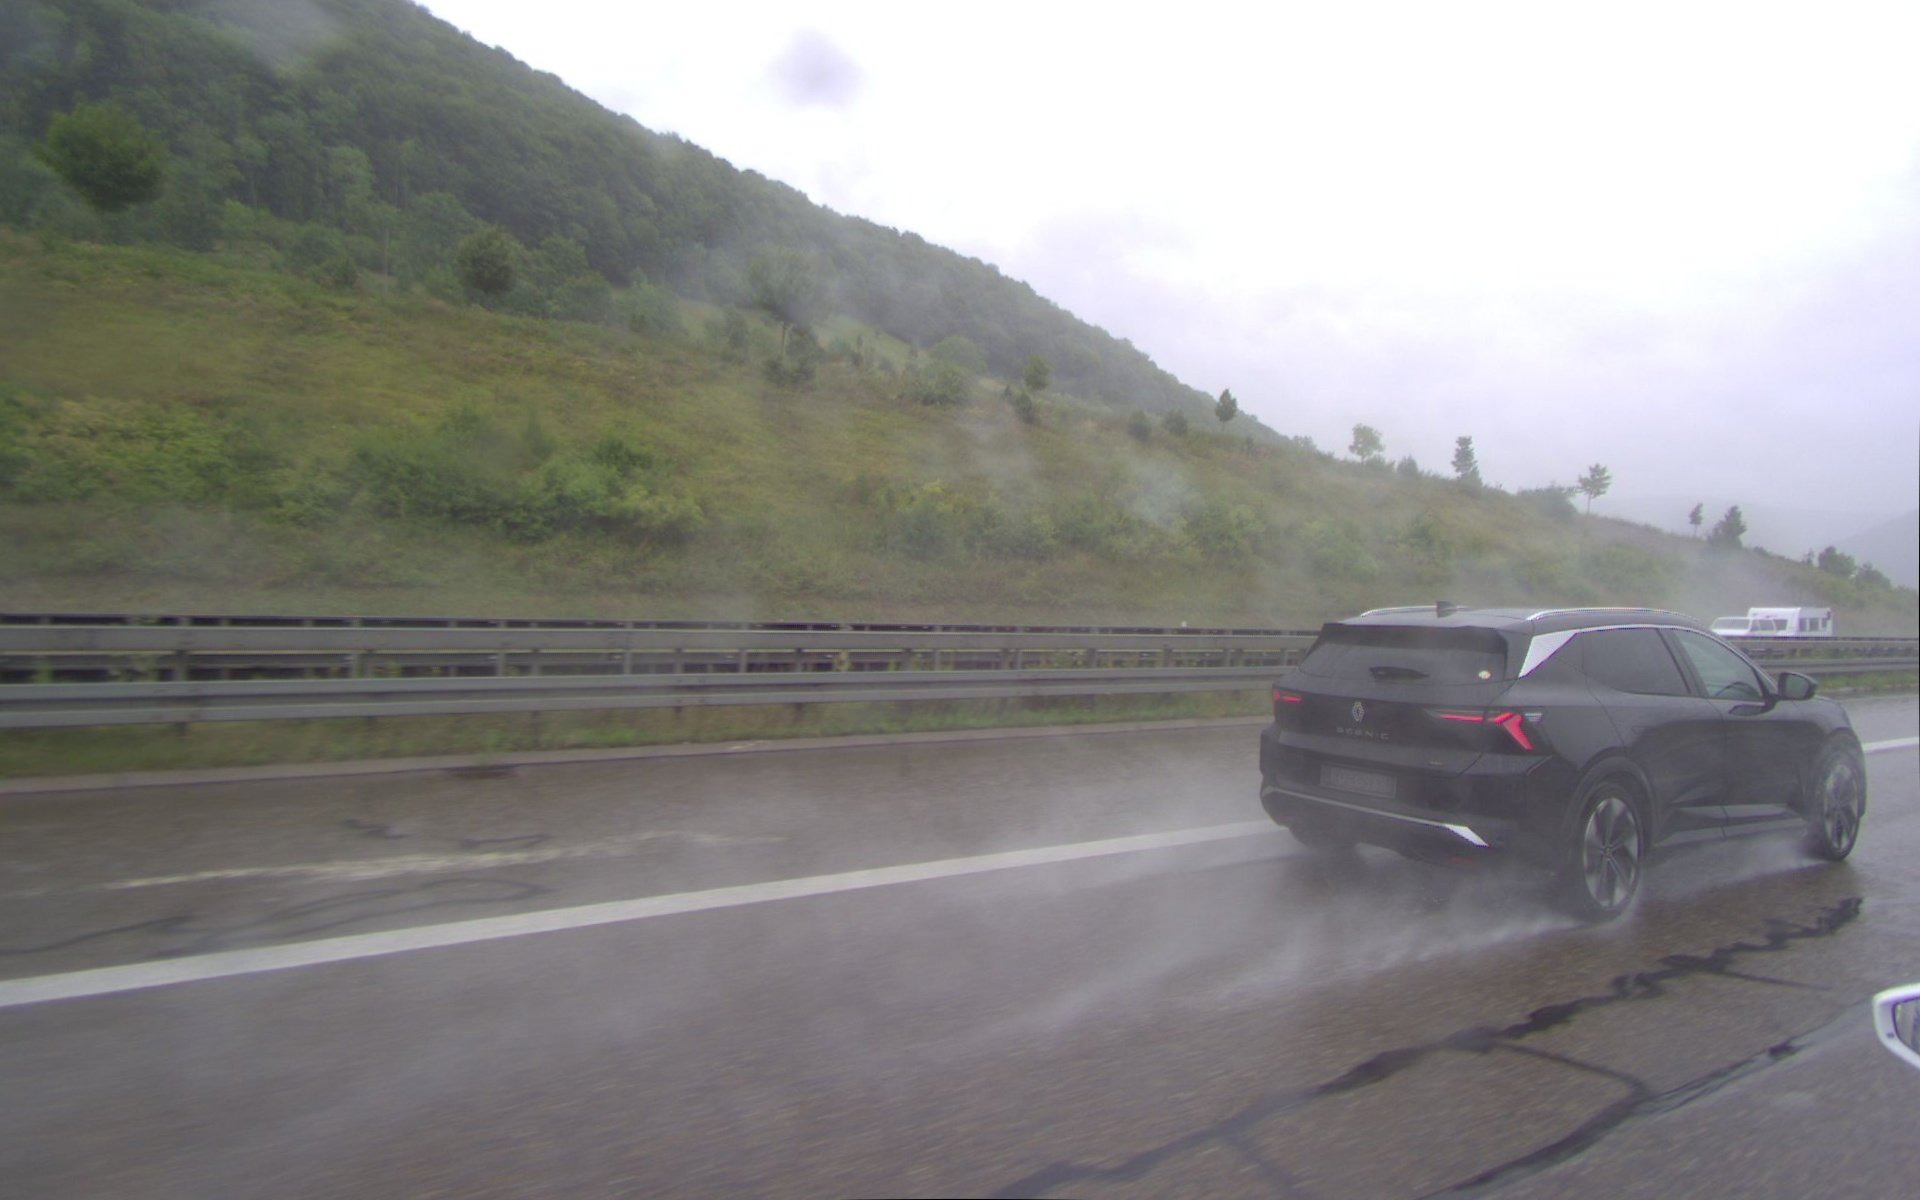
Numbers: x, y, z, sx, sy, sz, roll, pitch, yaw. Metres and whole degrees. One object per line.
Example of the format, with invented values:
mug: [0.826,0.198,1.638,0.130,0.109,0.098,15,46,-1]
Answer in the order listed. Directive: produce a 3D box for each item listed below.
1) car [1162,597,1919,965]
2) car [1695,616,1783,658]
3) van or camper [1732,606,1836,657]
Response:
car: [3.921,0.824,6.508,4.727,1.535,2.394,2,0,-30]
car: [40.299,1.883,51.952,5.122,2.042,1.982,1,0,-33]
van or camper: [45.457,1.726,55.324,7.127,2.598,2.331,1,0,-33]
